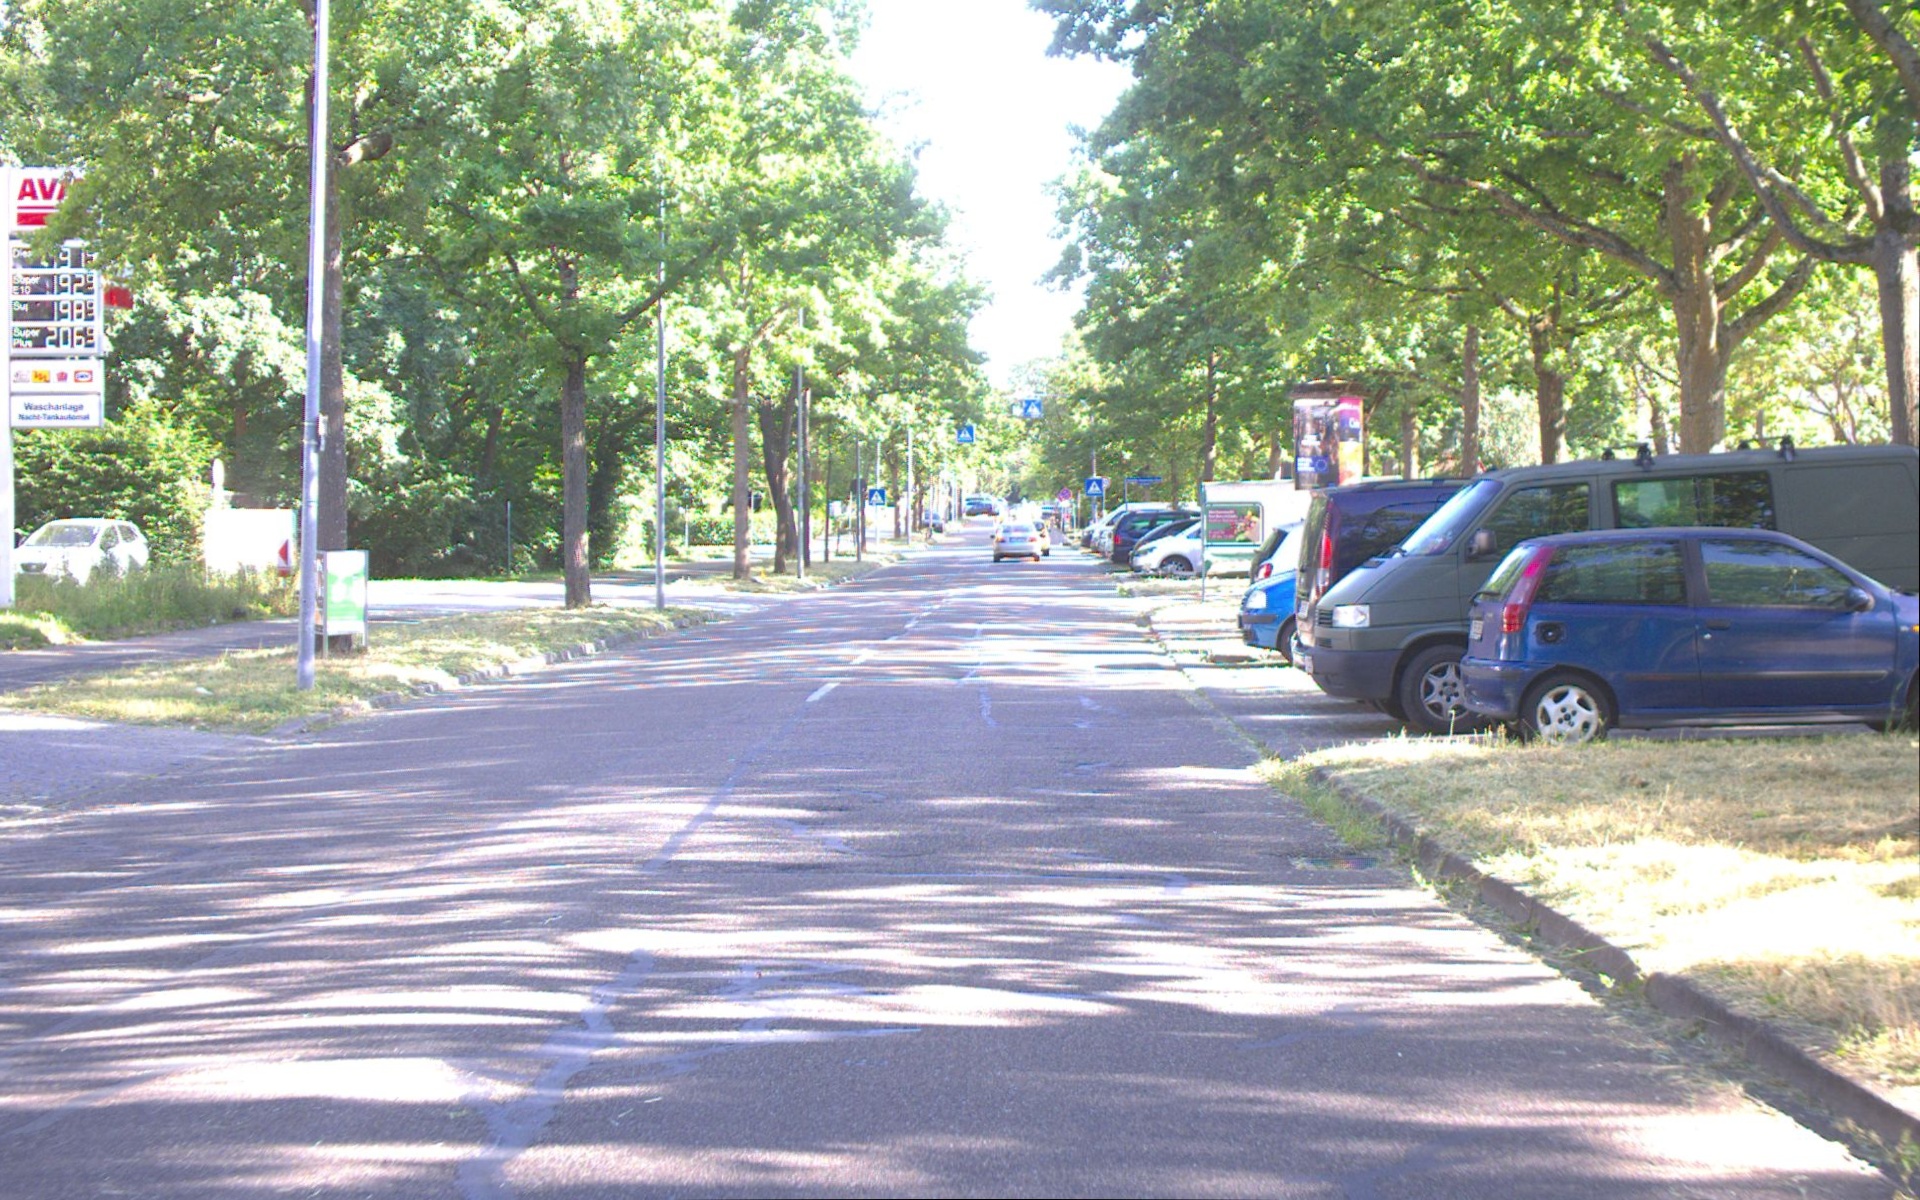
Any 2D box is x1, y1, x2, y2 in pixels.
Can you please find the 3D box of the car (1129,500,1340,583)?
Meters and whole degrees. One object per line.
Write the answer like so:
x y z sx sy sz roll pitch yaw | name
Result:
6.167 -1.328 77.637 4.642 1.716 1.987 -2 1 2 | car

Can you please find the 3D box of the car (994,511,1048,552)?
2.462 -2.809 140.214 1.993 1.650 4.000 0 1 -2 | car

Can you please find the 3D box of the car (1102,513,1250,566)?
6.987 -1.967 111.560 4.671 1.575 1.917 -2 2 2 | car

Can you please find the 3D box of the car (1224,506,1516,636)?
5.349 -0.391 45.192 3.583 1.571 1.857 -2 1 1 | car

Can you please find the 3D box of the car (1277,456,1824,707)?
4.678 -0.161 27.625 4.008 1.830 1.799 -2 1 -1 | car

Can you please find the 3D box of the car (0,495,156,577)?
-16.280 -1.190 63.466 1.547 1.417 3.486 2 2 9 | car

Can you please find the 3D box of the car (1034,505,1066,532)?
5.814 -5.228 221.367 1.993 1.710 4.000 0 1 1 | car

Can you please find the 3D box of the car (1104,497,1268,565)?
6.365 -1.962 97.163 4.530 1.795 1.936 -1 1 2 | car

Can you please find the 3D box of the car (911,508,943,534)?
-2.178 -5.244 227.723 1.993 1.710 4.000 0 1 1 | car

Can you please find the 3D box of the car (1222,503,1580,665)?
4.519 -0.178 35.607 3.521 1.527 1.665 -2 1 3 | car

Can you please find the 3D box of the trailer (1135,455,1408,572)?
6.737 -1.873 74.761 5.775 2.309 1.686 -2 1 4 | trailer

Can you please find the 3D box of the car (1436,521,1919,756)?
5.199 0.215 22.249 3.988 1.398 1.739 -1 1 1 | car

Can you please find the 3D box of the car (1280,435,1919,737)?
4.829 -0.121 25.065 4.803 2.025 1.944 -1 1 1 | car

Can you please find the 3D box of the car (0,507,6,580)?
-18.971 -1.048 63.402 1.423 1.363 3.204 2 2 9 | car

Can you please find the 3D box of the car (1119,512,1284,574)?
6.327 -1.499 90.503 4.245 1.513 2.078 -1 1 3 | car

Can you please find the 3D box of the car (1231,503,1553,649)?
5.006 -0.292 40.205 3.584 1.571 1.786 -2 1 3 | car

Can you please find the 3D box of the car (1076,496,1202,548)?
7.508 -3.278 144.536 5.187 2.098 2.083 -1 1 0 | car

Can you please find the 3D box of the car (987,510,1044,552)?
2.004 -2.512 124.797 1.993 1.479 4.000 0 1 0 | car

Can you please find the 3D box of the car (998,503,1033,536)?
3.248 -4.710 200.483 1.993 1.926 4.000 0 1 1 | car
